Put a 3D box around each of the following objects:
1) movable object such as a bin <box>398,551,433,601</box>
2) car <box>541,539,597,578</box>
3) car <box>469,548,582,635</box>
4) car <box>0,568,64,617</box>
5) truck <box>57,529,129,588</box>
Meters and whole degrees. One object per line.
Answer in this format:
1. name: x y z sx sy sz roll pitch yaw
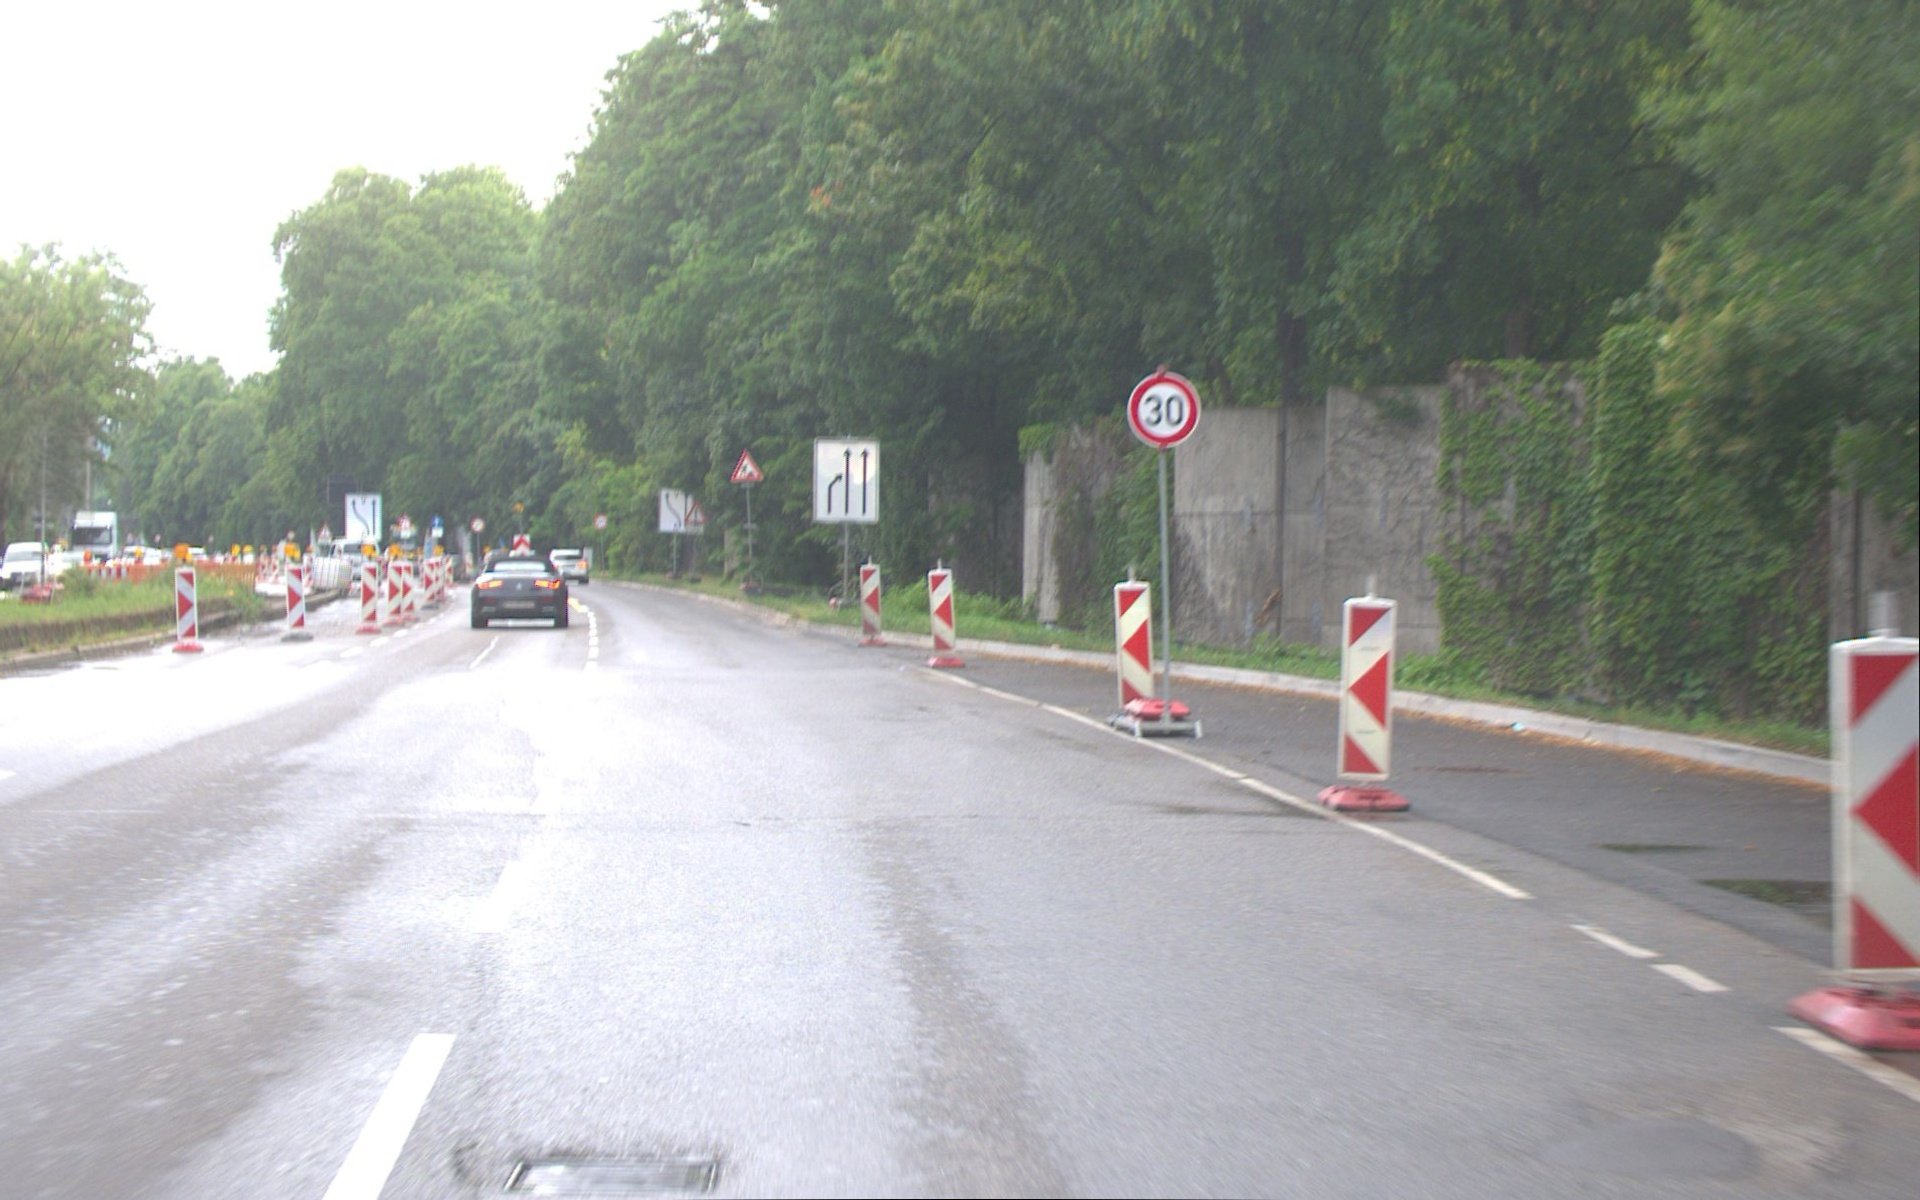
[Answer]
1. movable object such as a bin: -31.830 -1.397 200.936 1.746 2.858 3.535 -1 0 -13
2. car: -16.646 -1.764 146.194 1.913 1.592 4.835 1 1 -11
3. car: -8.424 -0.184 66.913 1.862 1.486 4.001 2 2 -3
4. car: -35.073 -0.289 129.592 1.913 1.775 4.835 1 1 -7
5. truck: -48.357 -2.265 191.867 2.795 3.137 10.150 0 0 -8
